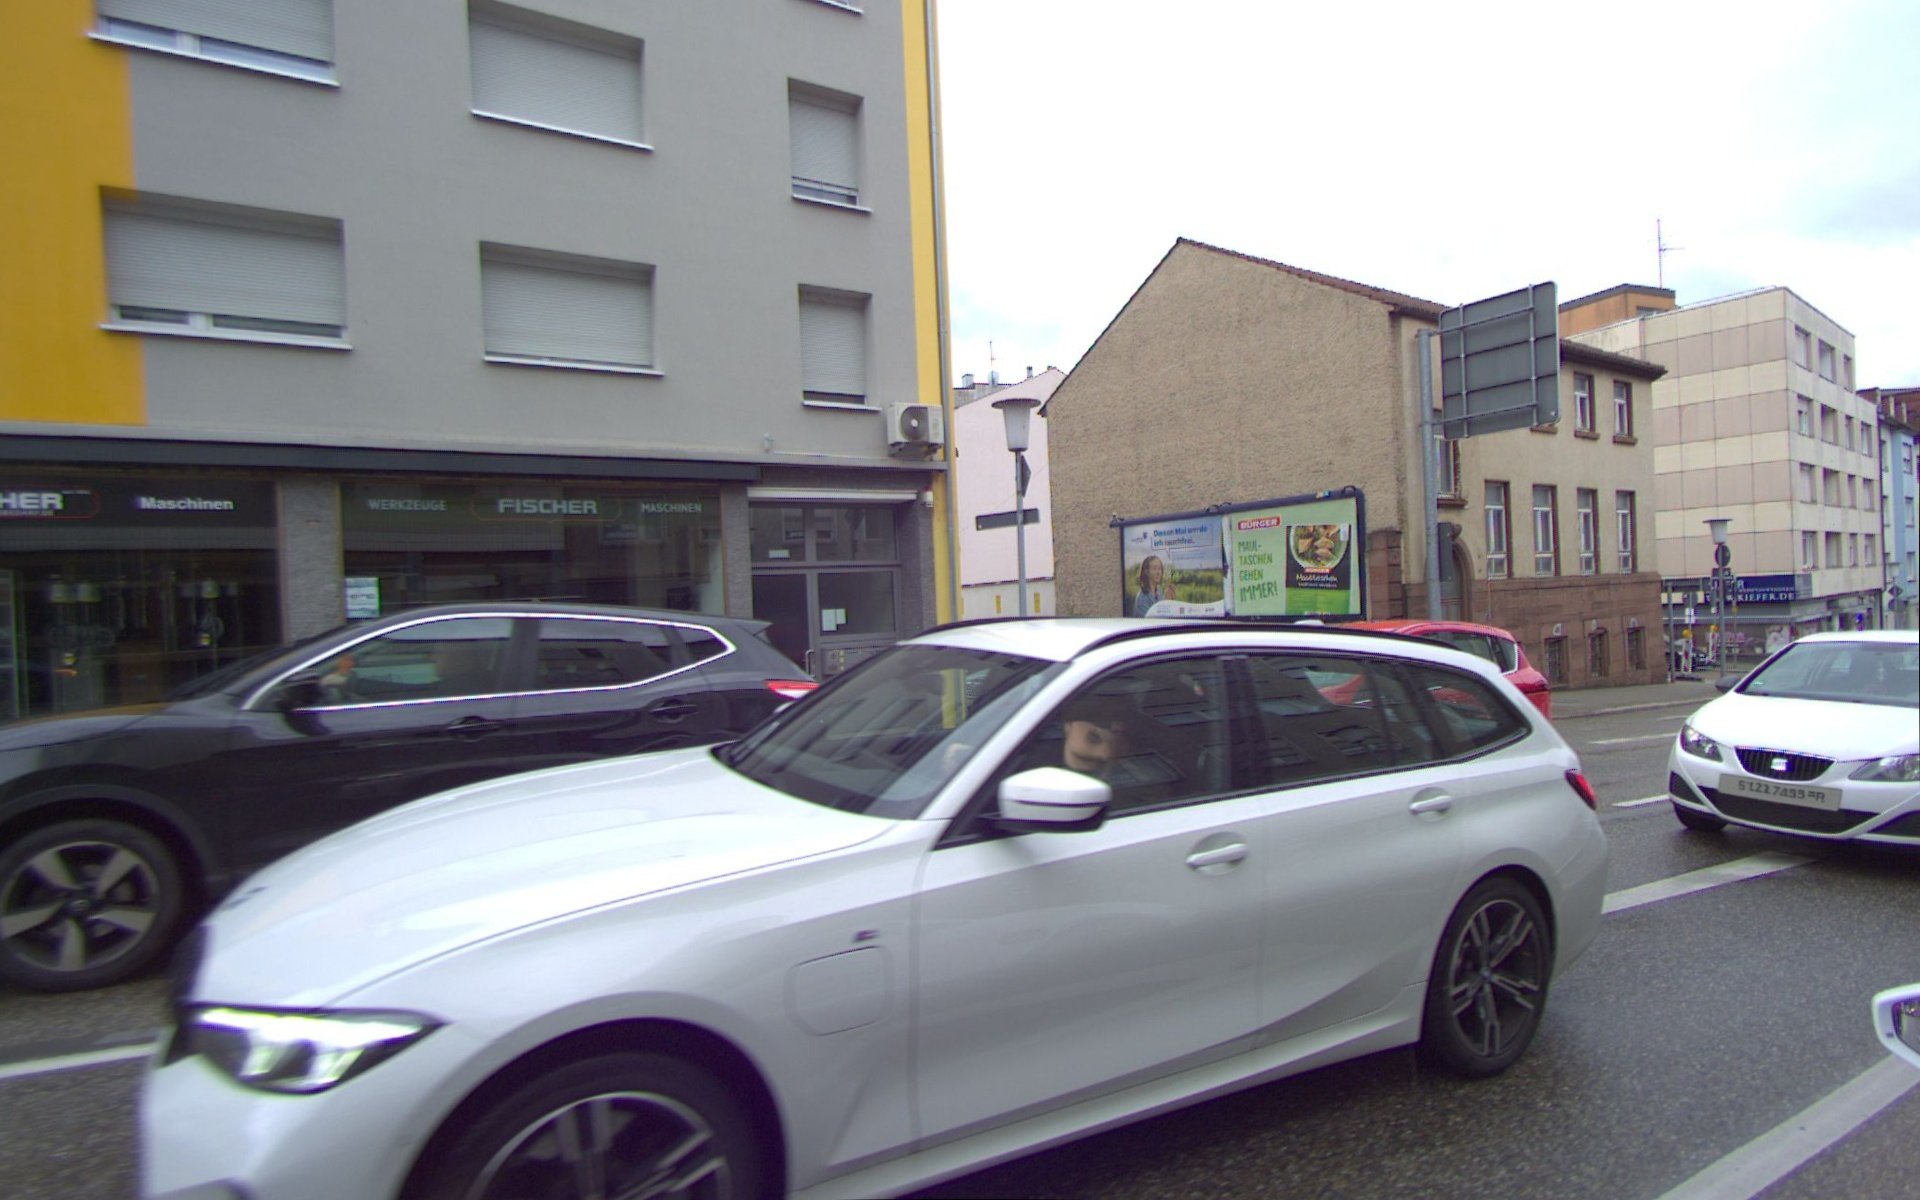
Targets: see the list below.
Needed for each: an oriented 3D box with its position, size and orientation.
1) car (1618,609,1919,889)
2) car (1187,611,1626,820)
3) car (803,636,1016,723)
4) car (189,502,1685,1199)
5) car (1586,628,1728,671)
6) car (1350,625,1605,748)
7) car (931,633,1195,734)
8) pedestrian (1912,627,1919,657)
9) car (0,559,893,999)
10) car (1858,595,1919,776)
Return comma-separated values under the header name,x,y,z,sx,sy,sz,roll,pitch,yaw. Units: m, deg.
name,x,y,z,sx,sy,sz,roll,pitch,yaw
car,6.708,0.874,7.159,4.241,1.500,1.690,2,0,-31
car,4.203,0.960,9.289,4.086,1.535,1.731,2,-4,-33
car,-0.930,1.464,19.412,3.814,1.483,1.681,1,-1,-34
car,0.356,0.711,3.418,4.509,1.541,1.798,2,-2,-31
car,27.741,1.950,40.131,1.874,1.532,4.317,1,-1,-27
car,7.788,1.243,15.029,3.886,1.631,1.647,2,-4,-33
car,1.868,1.331,17.295,4.621,1.474,1.678,1,0,-37
pedestrian,54.835,2.407,57.278,0.601,1.675,0.733,-4,2,-41
car,-2.673,0.776,5.401,4.291,1.652,1.799,2,-5,-30
car,11.298,0.885,10.453,4.513,1.727,1.796,2,0,-33
